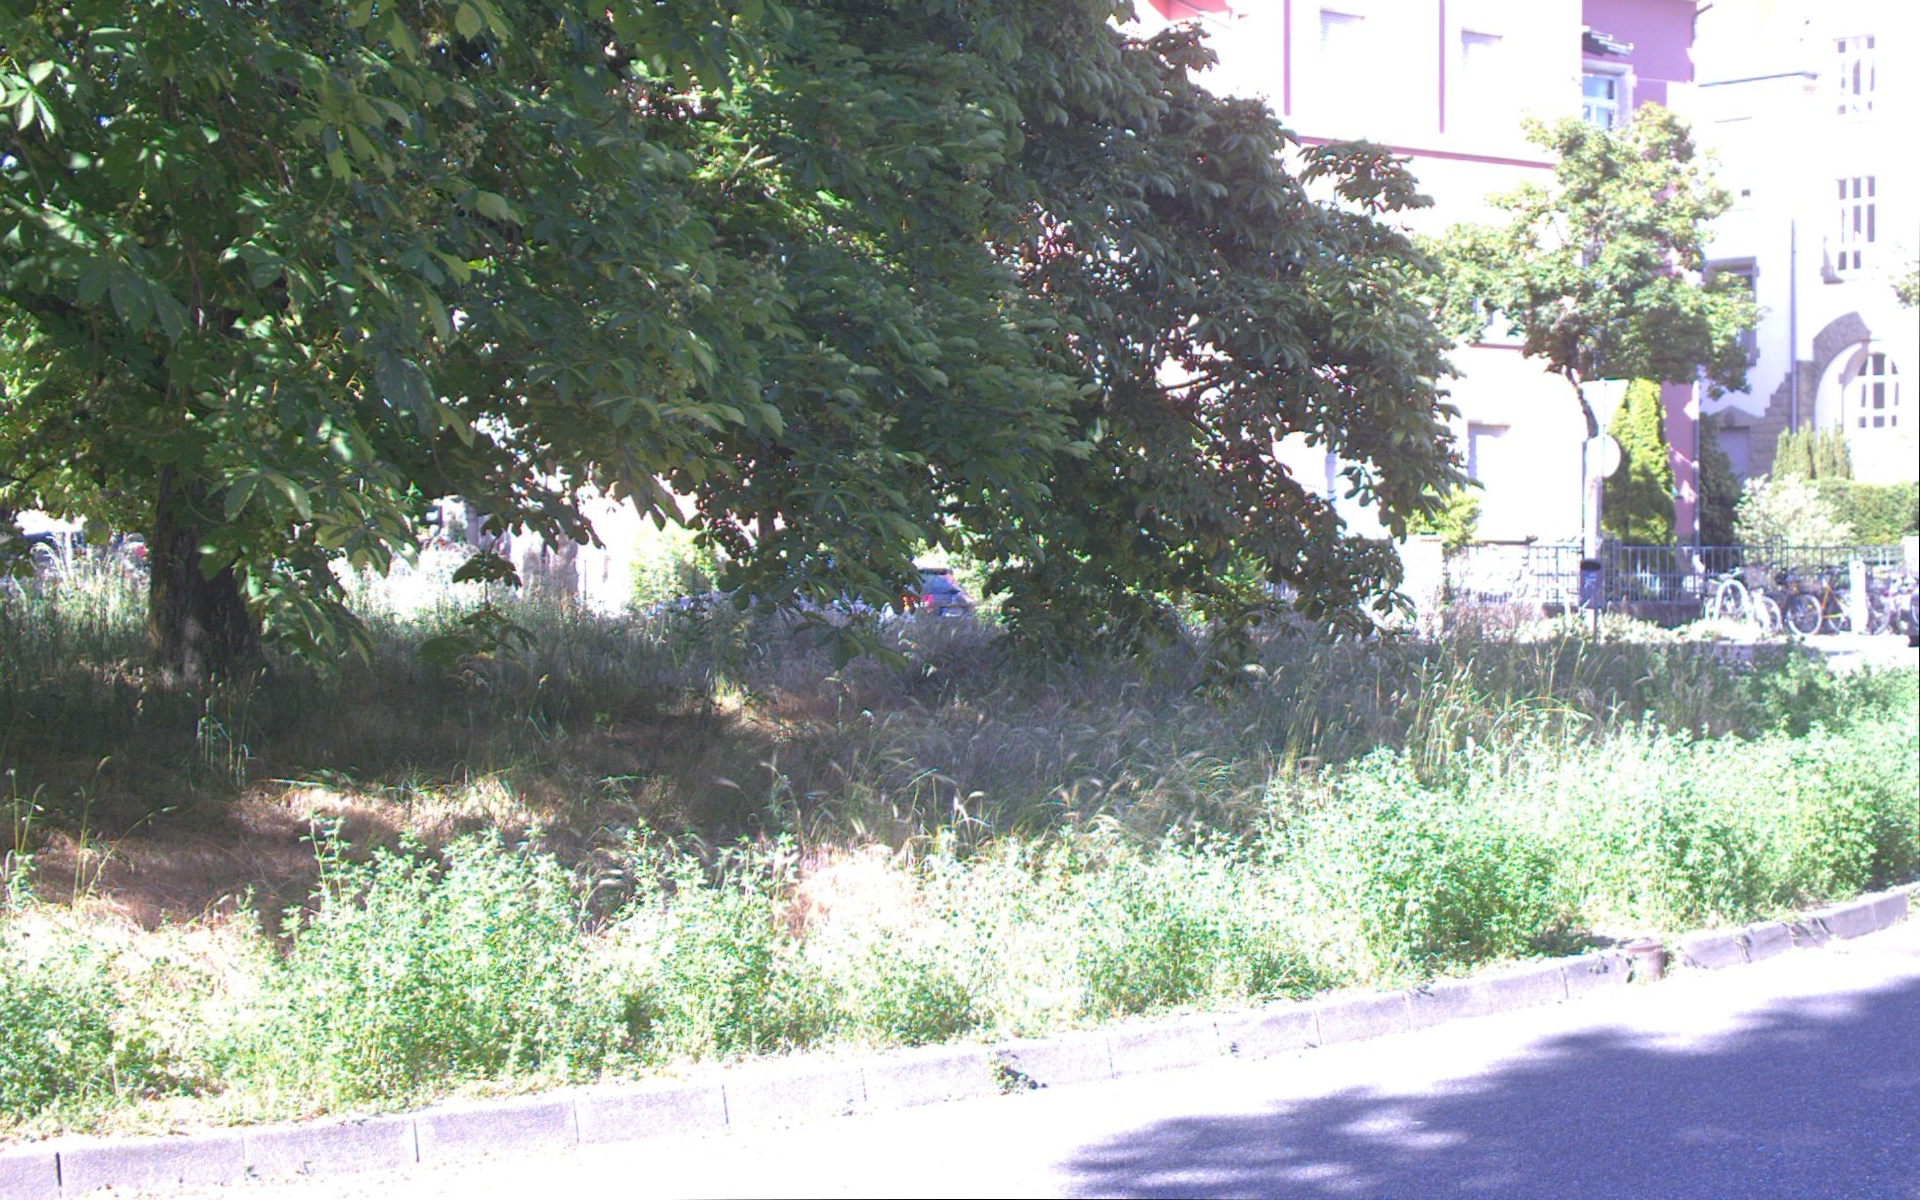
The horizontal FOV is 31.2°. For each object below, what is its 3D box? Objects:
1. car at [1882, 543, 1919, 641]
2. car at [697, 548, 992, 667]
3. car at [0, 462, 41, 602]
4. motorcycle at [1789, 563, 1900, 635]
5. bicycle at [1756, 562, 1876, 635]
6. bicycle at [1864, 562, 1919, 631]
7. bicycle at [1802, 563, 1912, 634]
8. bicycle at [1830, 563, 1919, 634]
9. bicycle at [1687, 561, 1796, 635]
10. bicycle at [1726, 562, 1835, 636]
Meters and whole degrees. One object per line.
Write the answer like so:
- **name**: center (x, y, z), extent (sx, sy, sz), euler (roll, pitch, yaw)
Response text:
- **car**: center (16.460, -0.162, 53.924), extent (4.327, 1.478, 1.808), euler (-1, -1, -43)
- **car**: center (-1.584, 0.068, 46.172), extent (1.823, 1.527, 3.998), euler (-1, 1, -42)
- **car**: center (-20.459, -1.340, 64.869), extent (6.366, 2.591, 2.100), euler (2, 1, 31)
- **motorcycle**: center (14.504, -0.019, 56.396), extent (0.499, 1.103, 1.726), euler (-1, 3, -45)
- **bicycle**: center (13.933, -0.032, 55.975), extent (1.828, 1.103, 0.500), euler (3, 3, 36)
- **bicycle**: center (16.119, -0.053, 57.891), extent (0.514, 1.103, 1.726), euler (-1, 3, -41)
- **bicycle**: center (14.836, -0.031, 56.888), extent (0.499, 1.103, 1.726), euler (-1, 3, -45)
- **bicycle**: center (15.388, -0.036, 57.281), extent (0.499, 1.103, 1.726), euler (-1, 3, -41)
- **bicycle**: center (12.486, -0.039, 54.972), extent (0.544, 1.111, 1.726), euler (-1, 3, -38)
- **bicycle**: center (13.240, -0.028, 55.526), extent (0.544, 1.111, 1.726), euler (-1, 3, -38)
